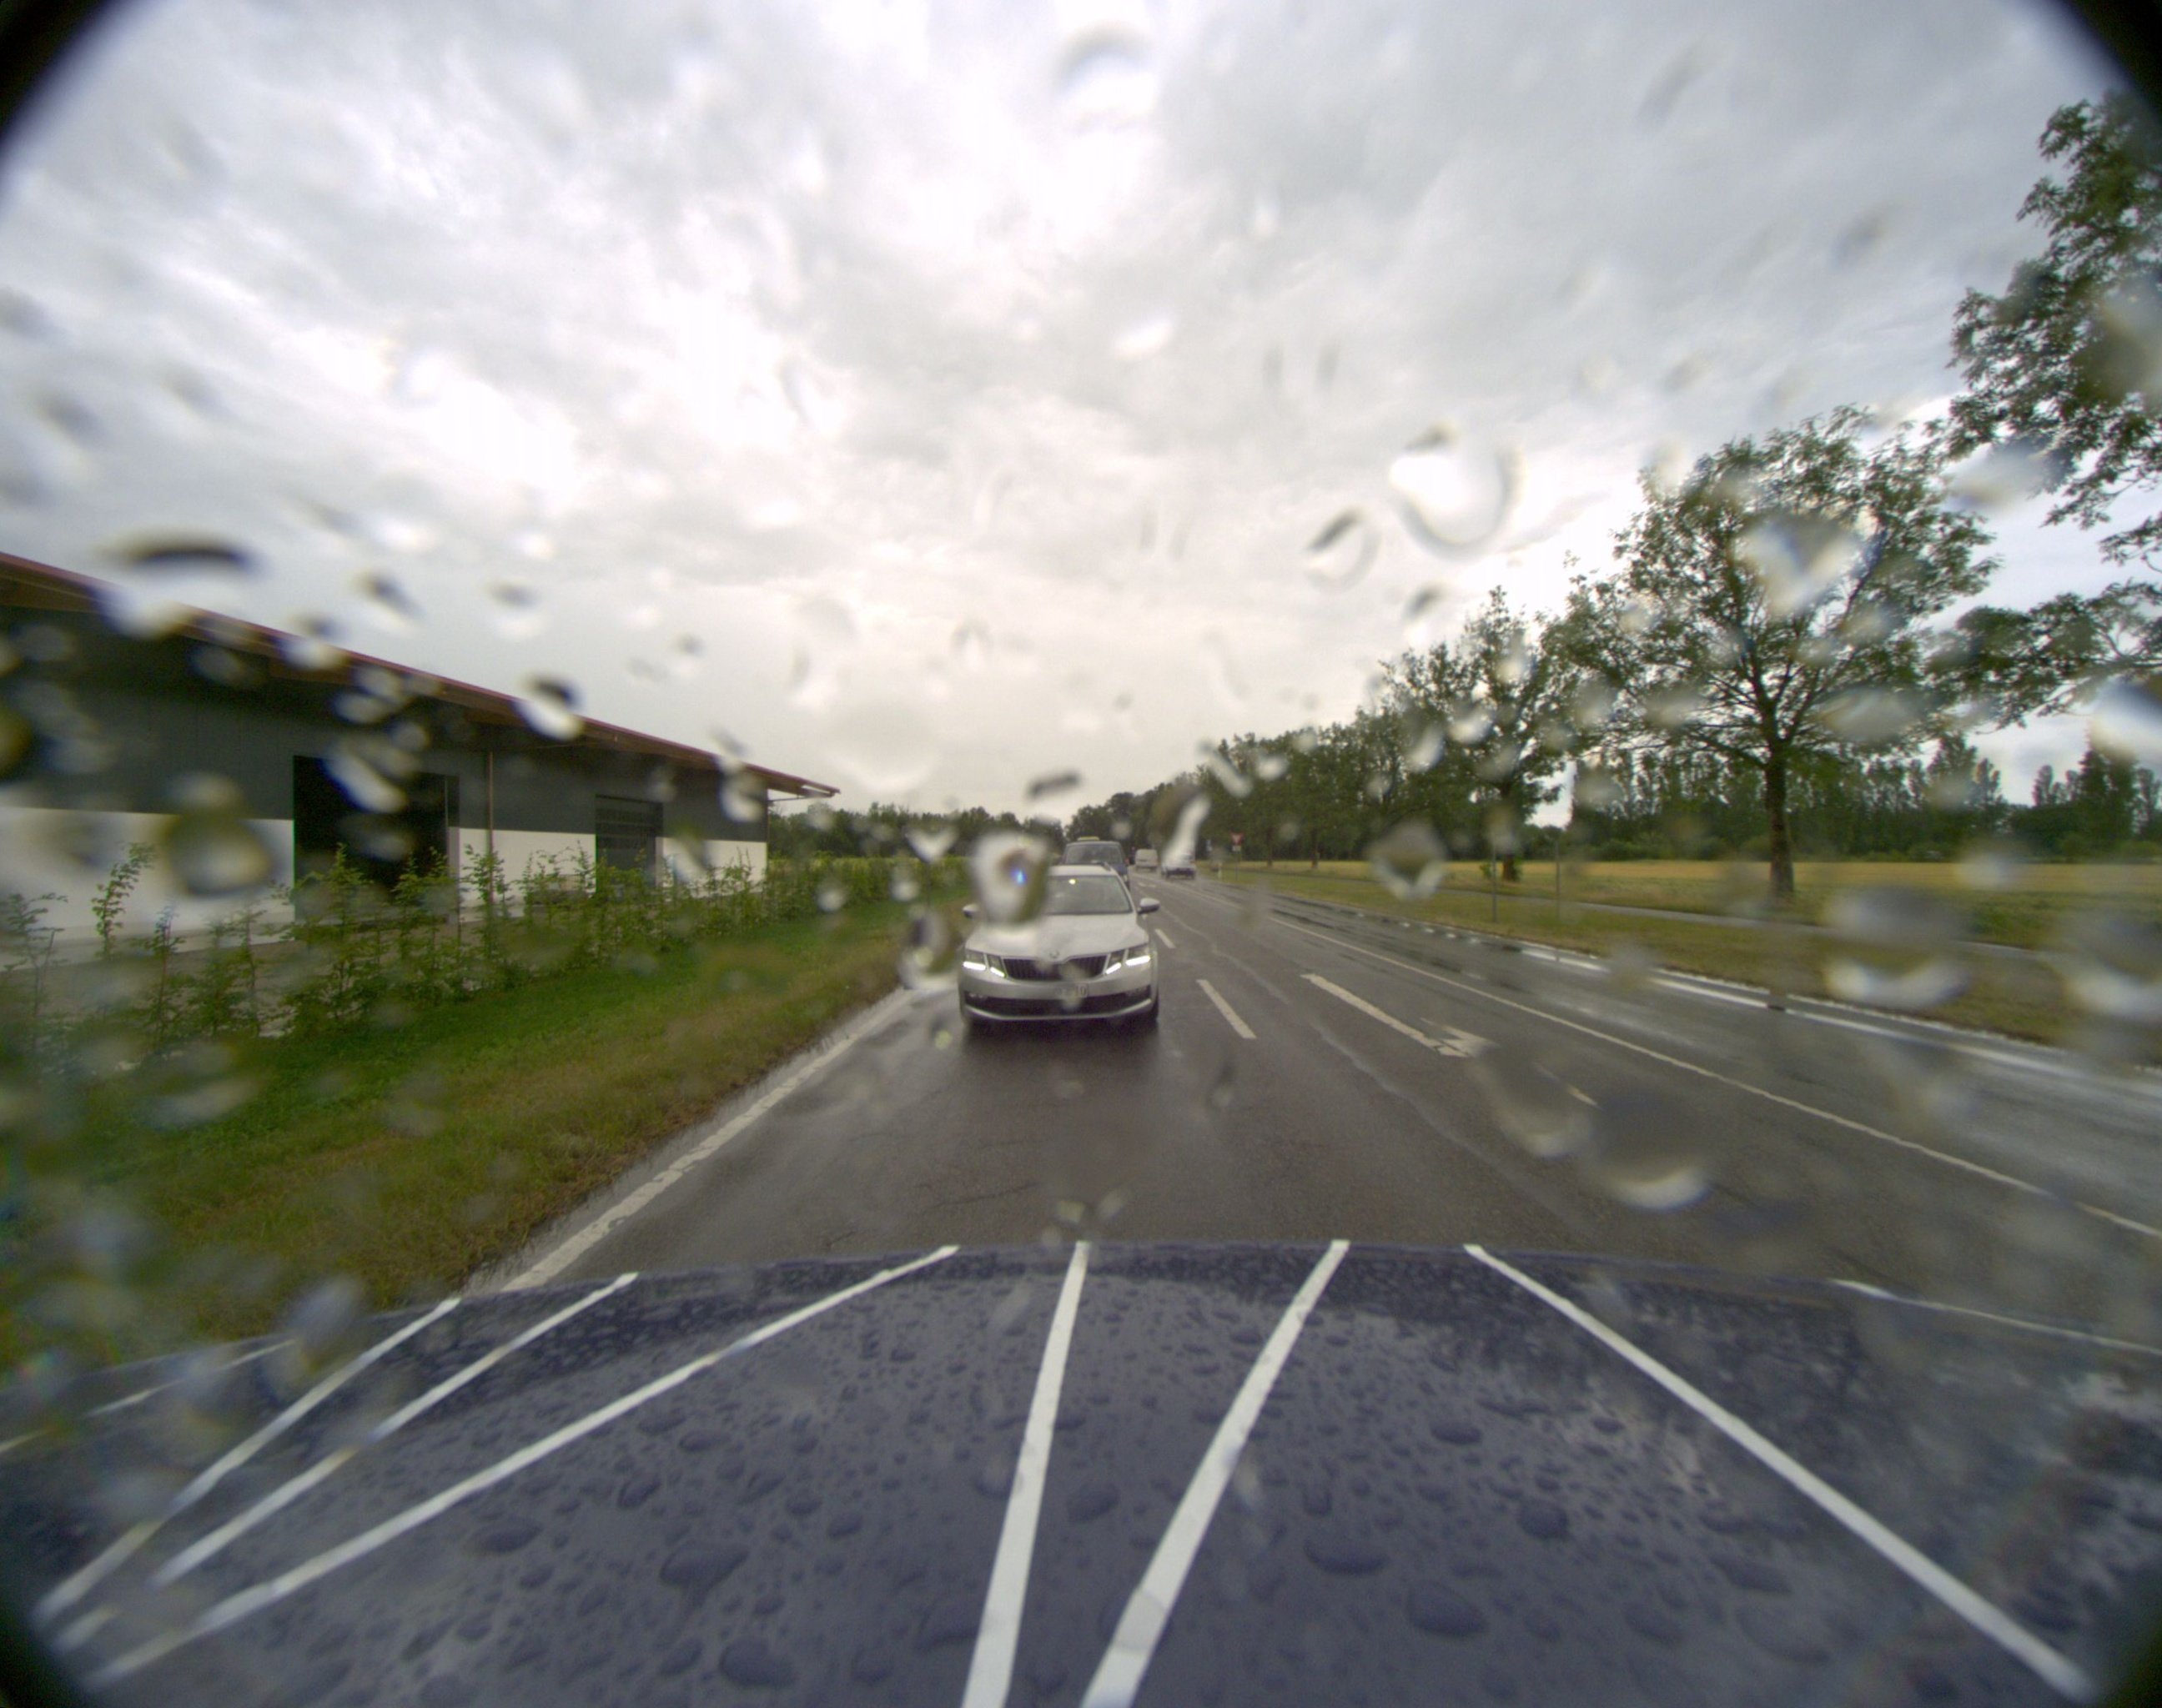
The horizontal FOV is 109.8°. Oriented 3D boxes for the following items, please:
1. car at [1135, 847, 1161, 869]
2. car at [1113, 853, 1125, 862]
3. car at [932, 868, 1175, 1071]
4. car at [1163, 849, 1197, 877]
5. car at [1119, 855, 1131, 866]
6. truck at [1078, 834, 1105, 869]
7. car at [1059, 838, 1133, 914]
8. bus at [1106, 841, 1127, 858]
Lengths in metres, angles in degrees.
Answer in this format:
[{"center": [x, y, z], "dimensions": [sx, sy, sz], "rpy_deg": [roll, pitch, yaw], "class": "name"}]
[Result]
[{"center": [6.101, 0.317, 69.733], "dimensions": [1.921, 1.851, 4.684], "rpy_deg": [1, 1, 0], "class": "car"}, {"center": [5.912, 0.516, 119.343], "dimensions": [1.672, 1.442, 3.461], "rpy_deg": [1, 0, 1], "class": "car"}, {"center": [-0.184, 0.947, 8.204], "dimensions": [1.843, 1.379, 4.569], "rpy_deg": [-2, 1, 1], "class": "car"}, {"center": [6.282, 0.535, 48.664], "dimensions": [1.708, 1.661, 4.156], "rpy_deg": [1, 0, 2], "class": "car"}, {"center": [6.134, 0.883, 105.252], "dimensions": [1.504, 1.521, 3.301], "rpy_deg": [1, 1, 2], "class": "car"}, {"center": [1.226, -0.330, 89.800], "dimensions": [2.931, 3.828, 14.119], "rpy_deg": [0, 0, 1], "class": "truck"}, {"center": [0.418, 0.547, 21.524], "dimensions": [1.892, 1.939, 4.000], "rpy_deg": [0, 1, 1], "class": "car"}, {"center": [6.198, -0.823, 134.446], "dimensions": [2.958, 2.895, 12.473], "rpy_deg": [0, 1, 0], "class": "bus"}]
